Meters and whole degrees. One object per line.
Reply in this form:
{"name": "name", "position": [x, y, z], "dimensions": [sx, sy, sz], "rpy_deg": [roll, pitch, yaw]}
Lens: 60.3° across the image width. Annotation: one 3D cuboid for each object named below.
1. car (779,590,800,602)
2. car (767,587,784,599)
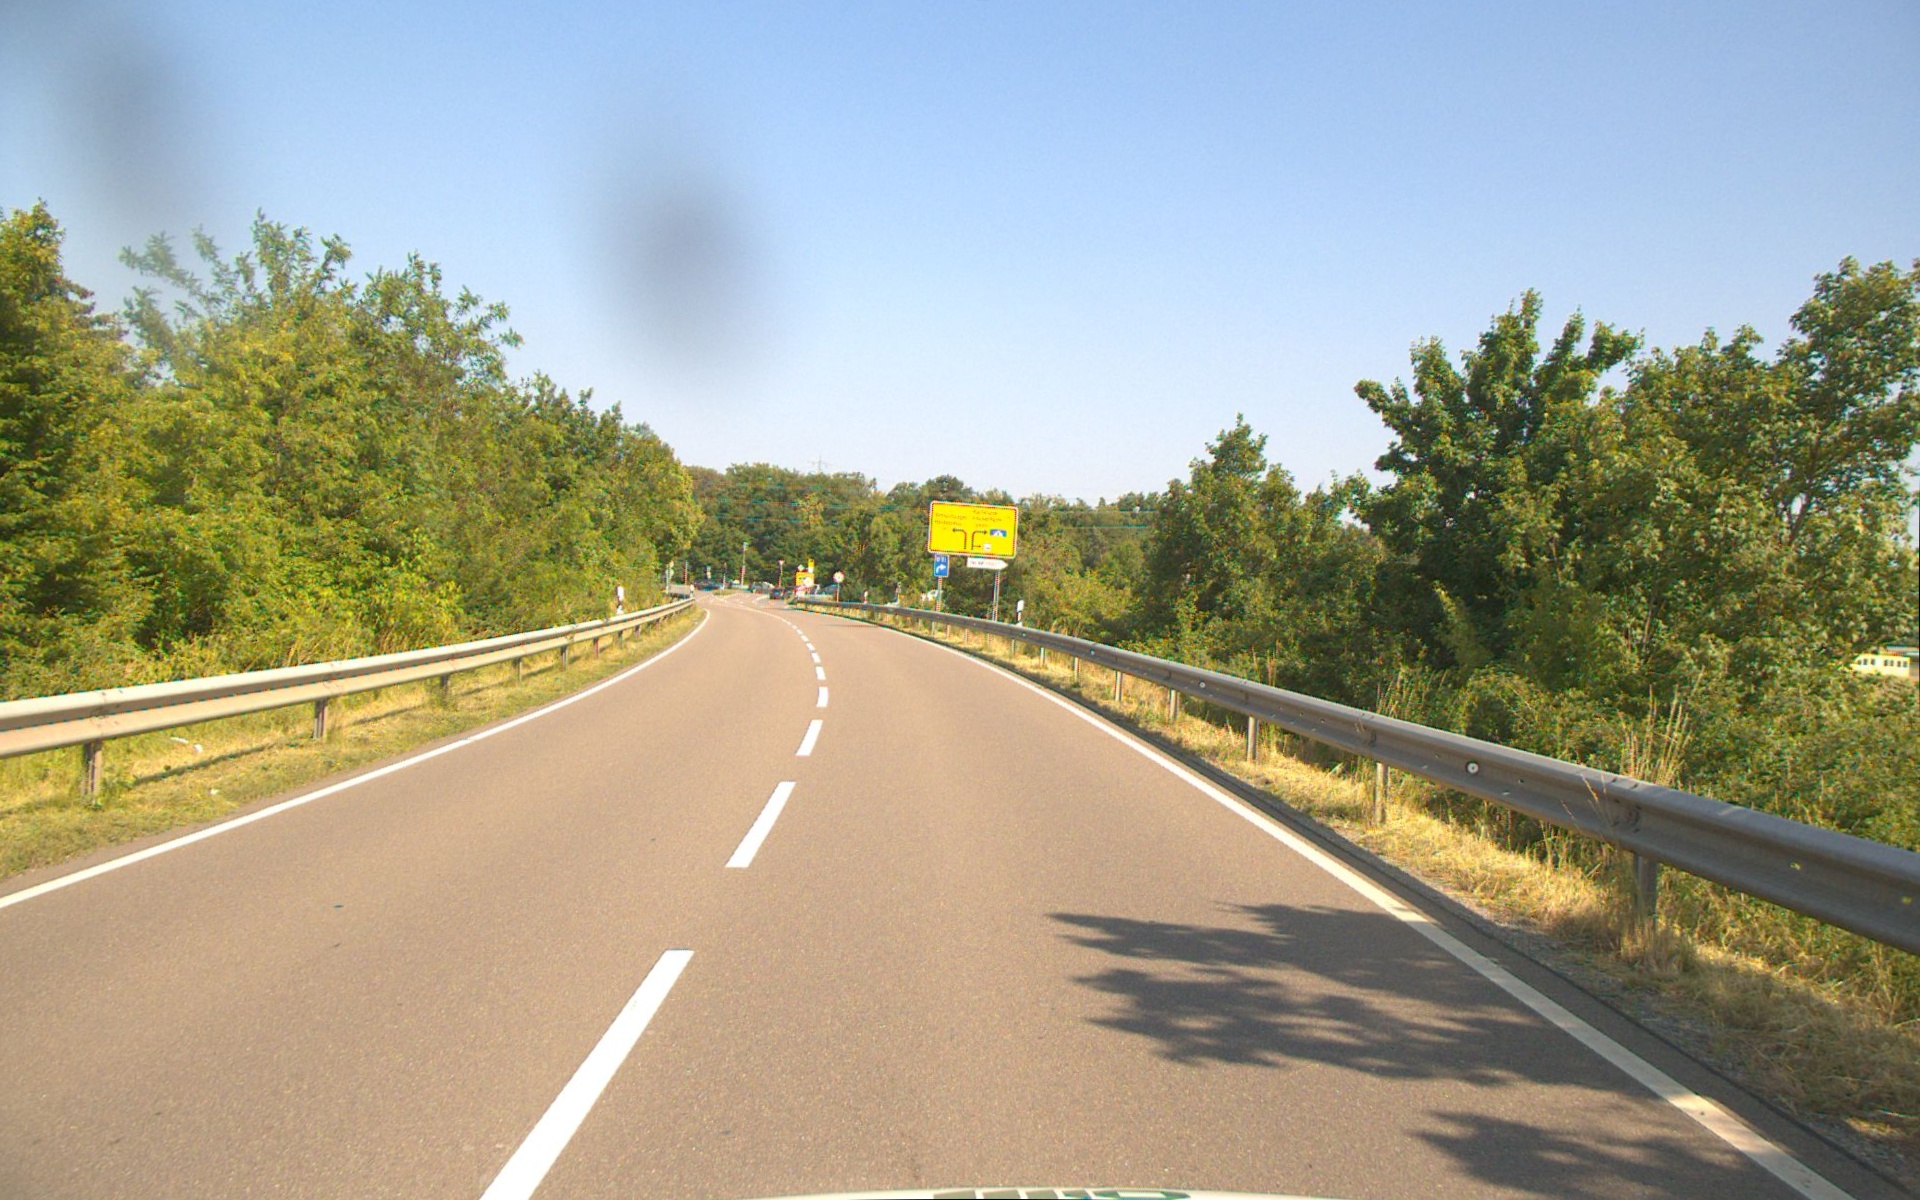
{"name": "car", "position": [-22.116, -0.517, 214.476], "dimensions": [1.761, 1.527, 4.003], "rpy_deg": [3, 0, 8]}
{"name": "car", "position": [-23.055, -0.872, 206.977], "dimensions": [1.764, 1.422, 3.997], "rpy_deg": [-4, 0, -4]}
